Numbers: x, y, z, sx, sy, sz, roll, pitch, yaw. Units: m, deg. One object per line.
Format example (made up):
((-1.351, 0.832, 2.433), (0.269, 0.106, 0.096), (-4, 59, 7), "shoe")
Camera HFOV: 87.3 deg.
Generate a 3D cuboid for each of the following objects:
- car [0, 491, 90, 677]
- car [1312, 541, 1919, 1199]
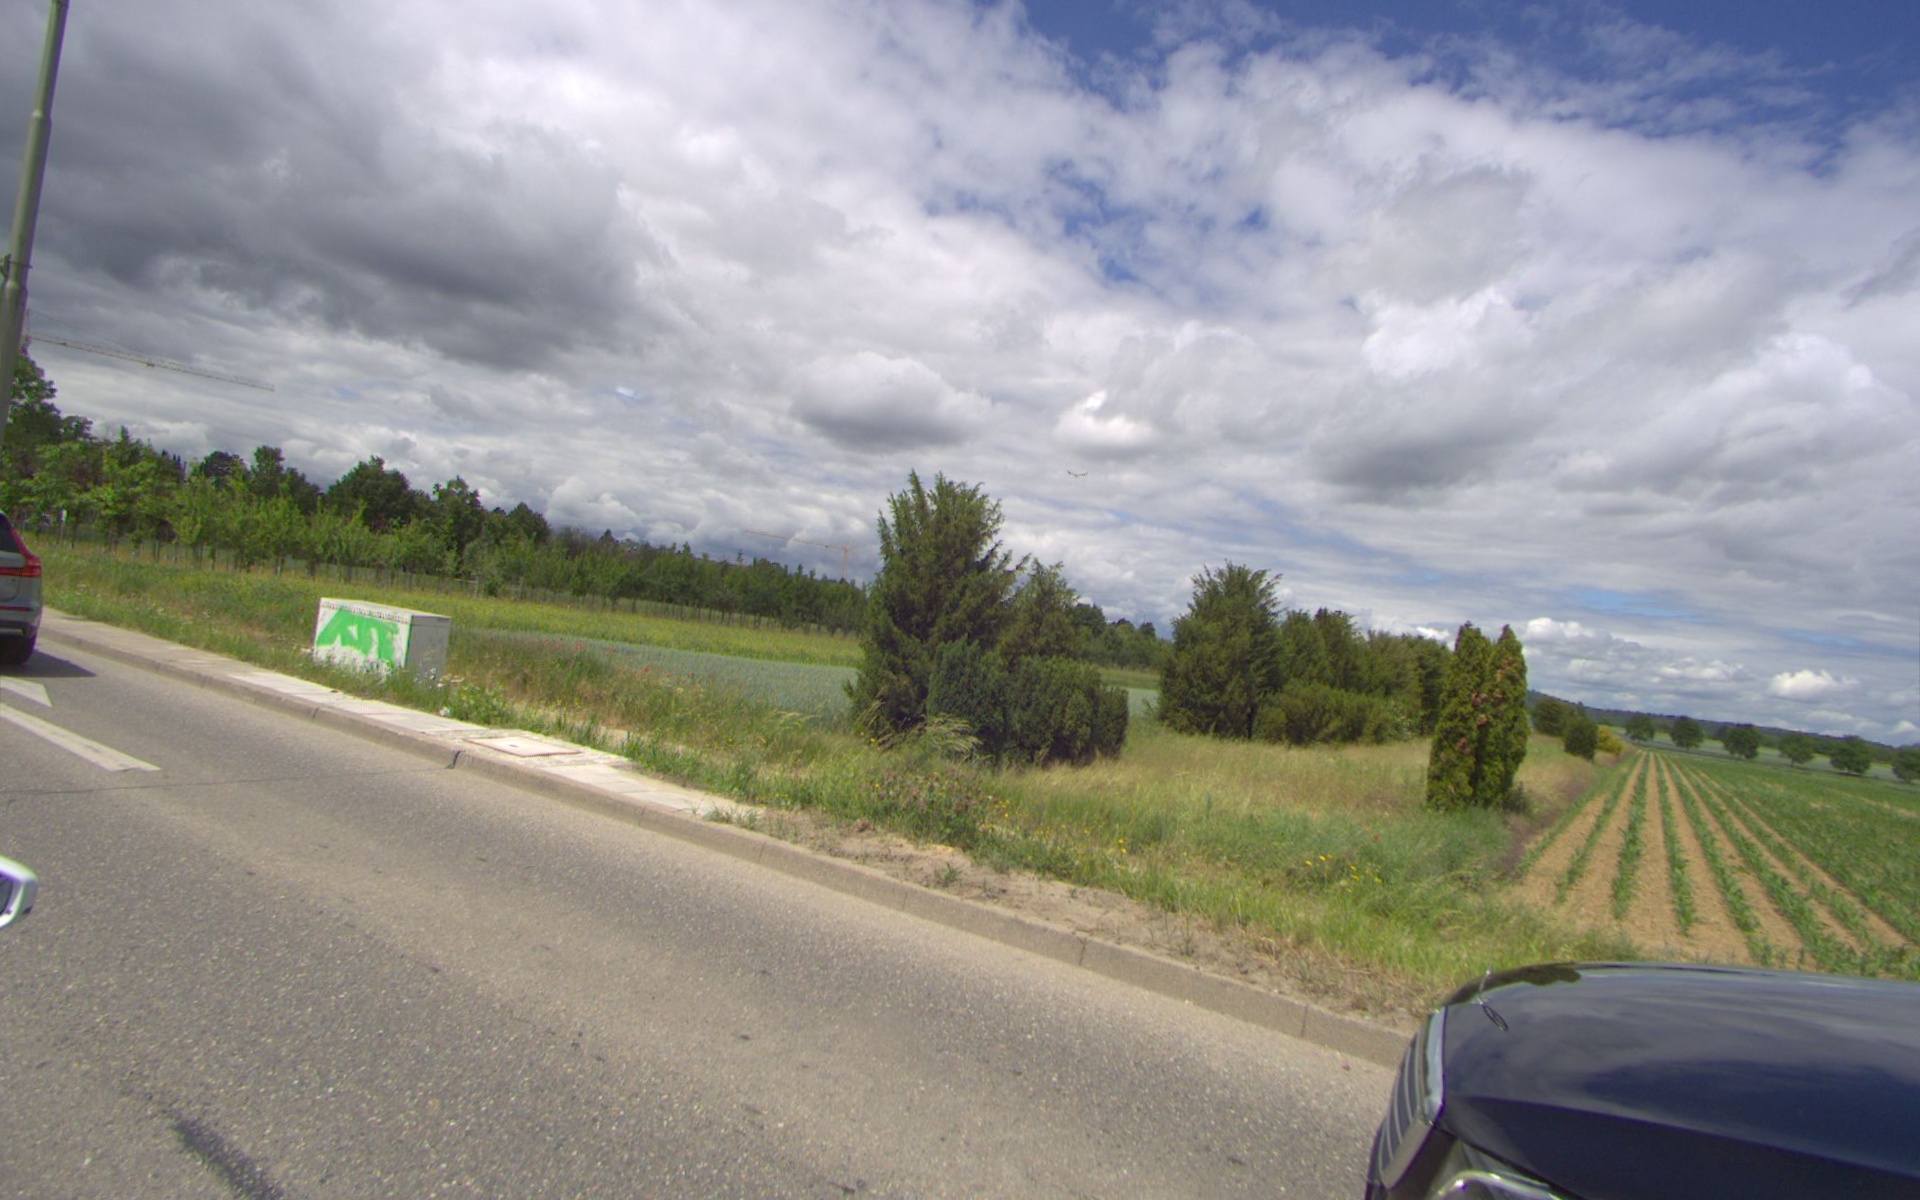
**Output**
((-10.010, -0.339, 9.140), (4.269, 1.544, 1.960), (6, 0, 32), "car")
((3.031, 1.069, 1.089), (4.725, 1.556, 1.841), (9, 0, 32), "car")
